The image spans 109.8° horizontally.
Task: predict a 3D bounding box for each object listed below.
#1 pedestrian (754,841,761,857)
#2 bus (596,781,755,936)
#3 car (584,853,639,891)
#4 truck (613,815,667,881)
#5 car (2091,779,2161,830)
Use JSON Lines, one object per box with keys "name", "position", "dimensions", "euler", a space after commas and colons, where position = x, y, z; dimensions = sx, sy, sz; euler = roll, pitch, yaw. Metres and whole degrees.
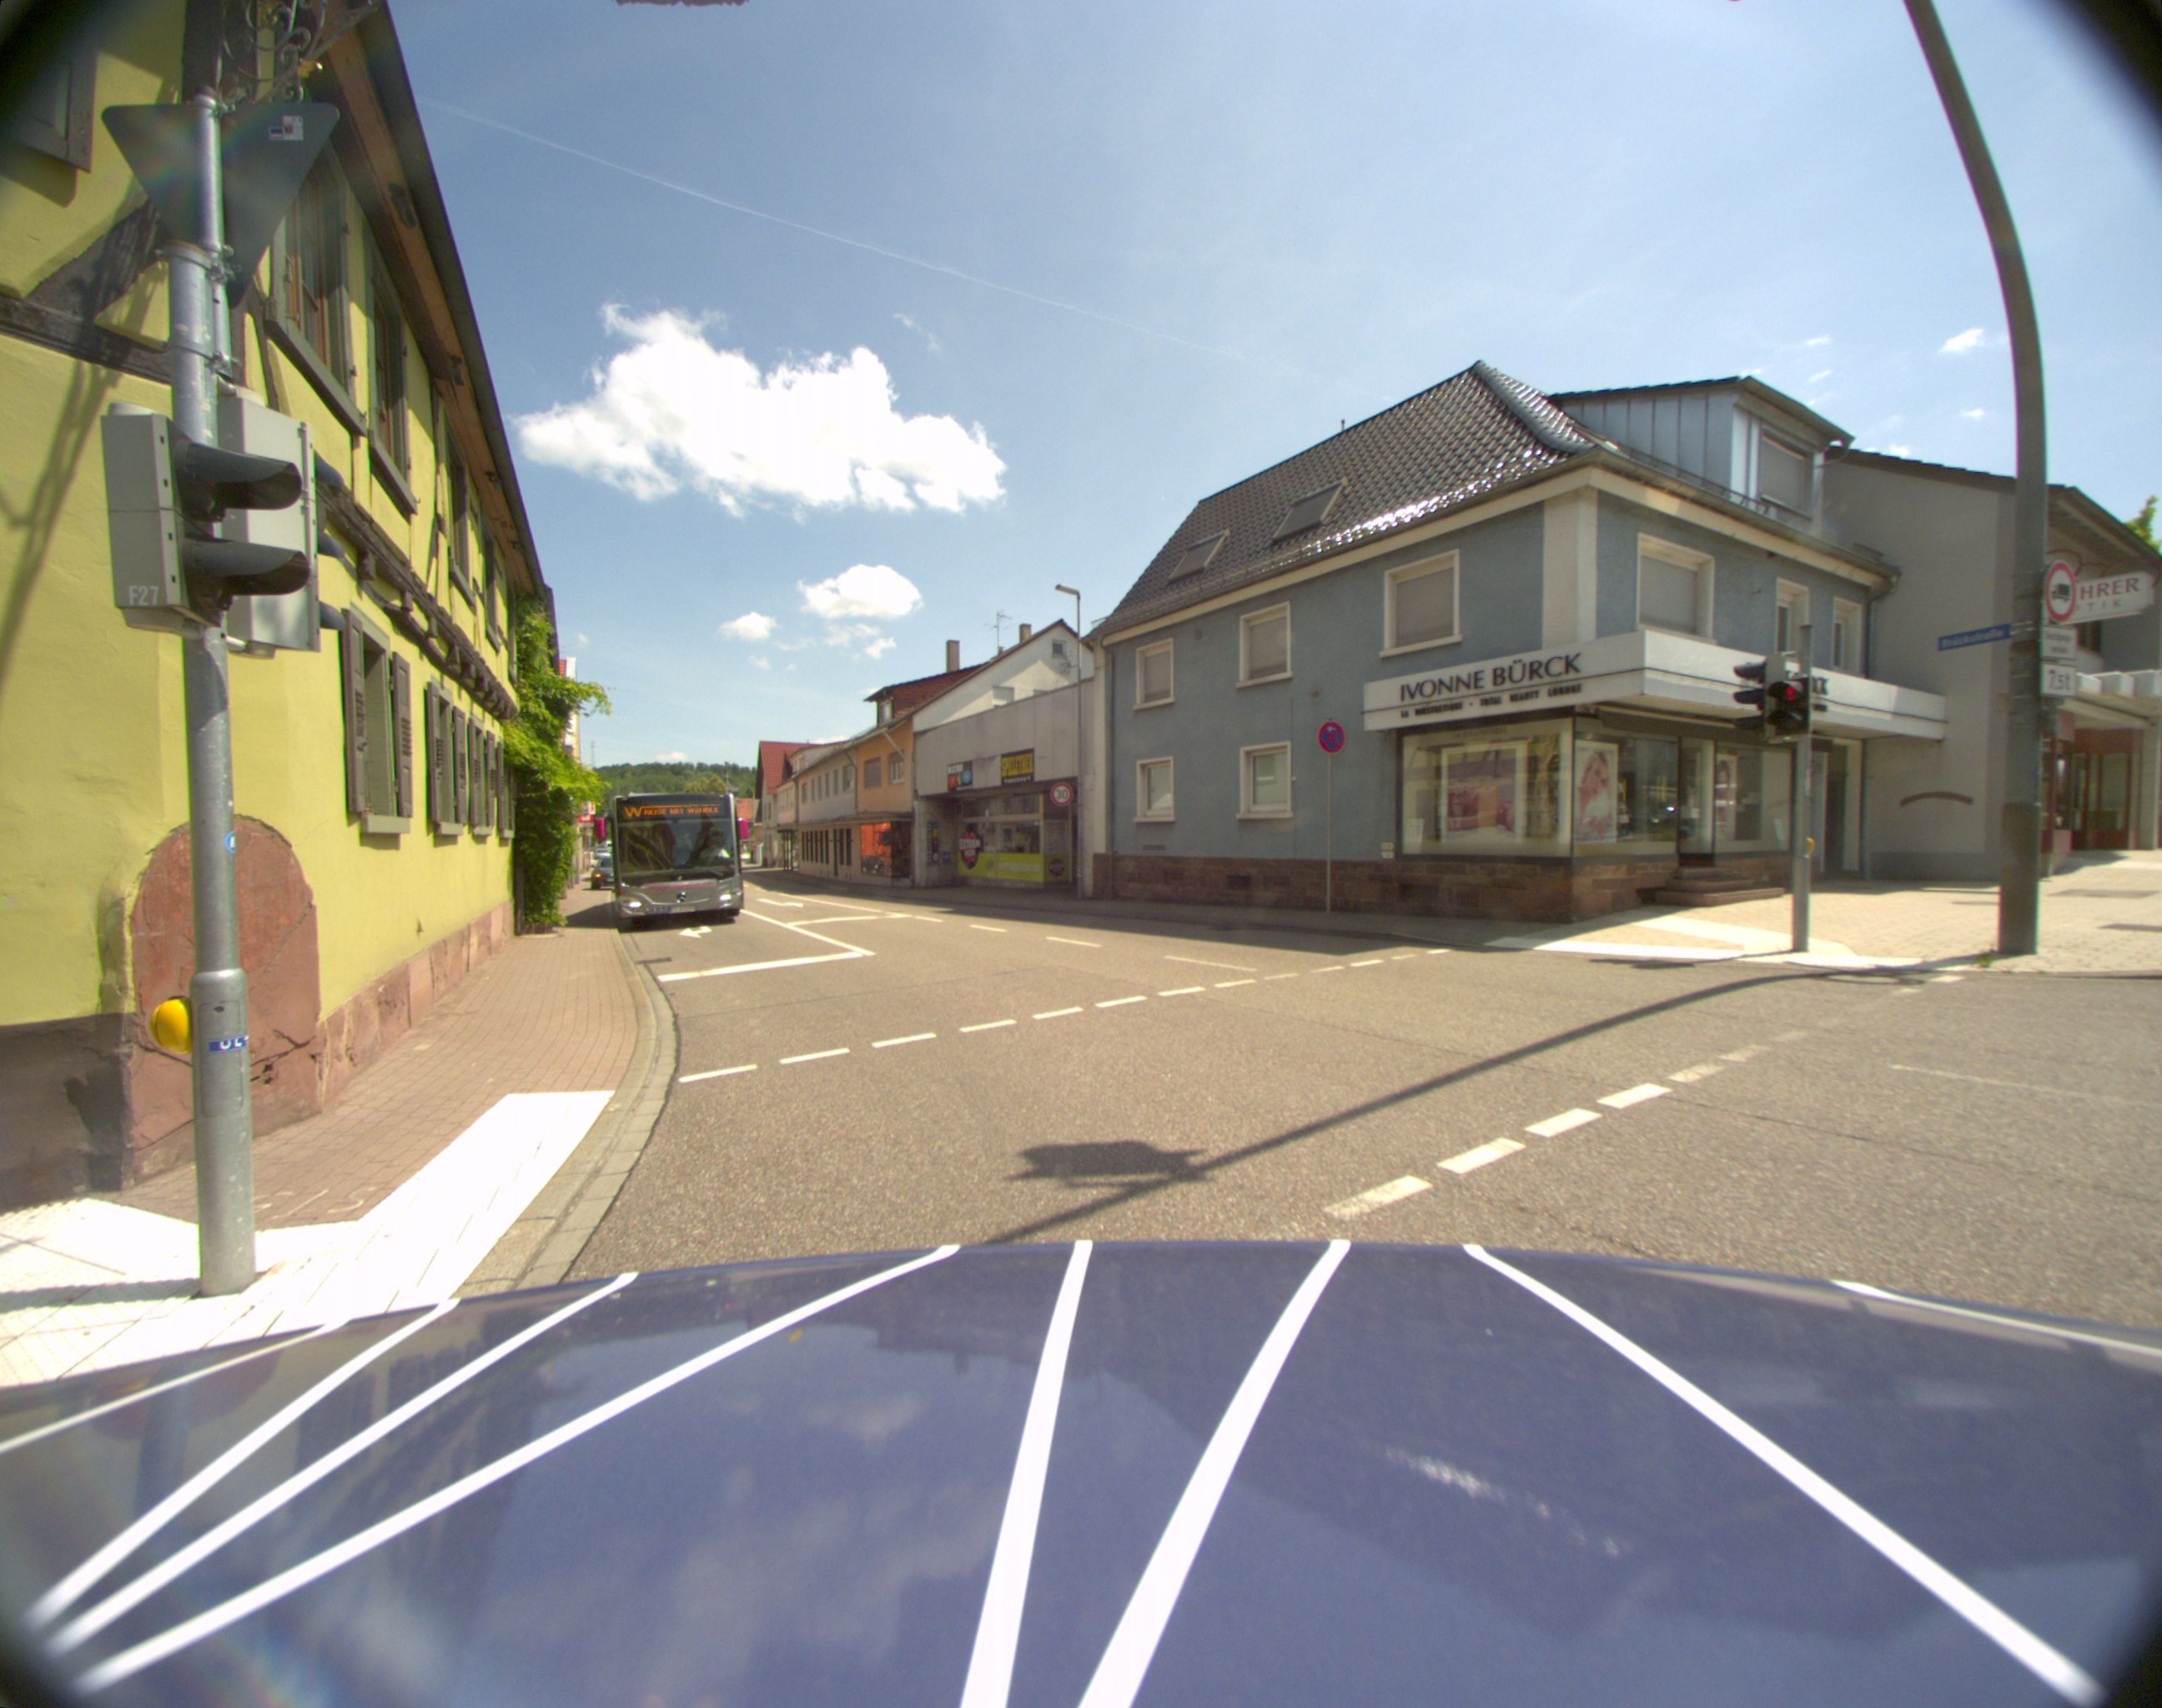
{"name": "pedestrian", "position": [-35.697, -0.551, 83.790], "dimensions": [0.477, 1.754, 0.472], "euler": [1, 3, 38]}
{"name": "bus", "position": [-12.821, 0.051, 24.726], "dimensions": [2.864, 3.186, 18.990], "euler": [-3, 1, -26]}
{"name": "car", "position": [-22.798, 0.821, 37.042], "dimensions": [2.003, 1.699, 4.091], "euler": [1, 0, -28]}
{"name": "truck", "position": [-29.510, -0.397, 51.053], "dimensions": [2.620, 3.923, 9.969], "euler": [-4, 2, -29]}
{"name": "car", "position": [37.982, -1.753, 25.856], "dimensions": [2.002, 1.669, 3.992], "euler": [-2, 1, -25]}
